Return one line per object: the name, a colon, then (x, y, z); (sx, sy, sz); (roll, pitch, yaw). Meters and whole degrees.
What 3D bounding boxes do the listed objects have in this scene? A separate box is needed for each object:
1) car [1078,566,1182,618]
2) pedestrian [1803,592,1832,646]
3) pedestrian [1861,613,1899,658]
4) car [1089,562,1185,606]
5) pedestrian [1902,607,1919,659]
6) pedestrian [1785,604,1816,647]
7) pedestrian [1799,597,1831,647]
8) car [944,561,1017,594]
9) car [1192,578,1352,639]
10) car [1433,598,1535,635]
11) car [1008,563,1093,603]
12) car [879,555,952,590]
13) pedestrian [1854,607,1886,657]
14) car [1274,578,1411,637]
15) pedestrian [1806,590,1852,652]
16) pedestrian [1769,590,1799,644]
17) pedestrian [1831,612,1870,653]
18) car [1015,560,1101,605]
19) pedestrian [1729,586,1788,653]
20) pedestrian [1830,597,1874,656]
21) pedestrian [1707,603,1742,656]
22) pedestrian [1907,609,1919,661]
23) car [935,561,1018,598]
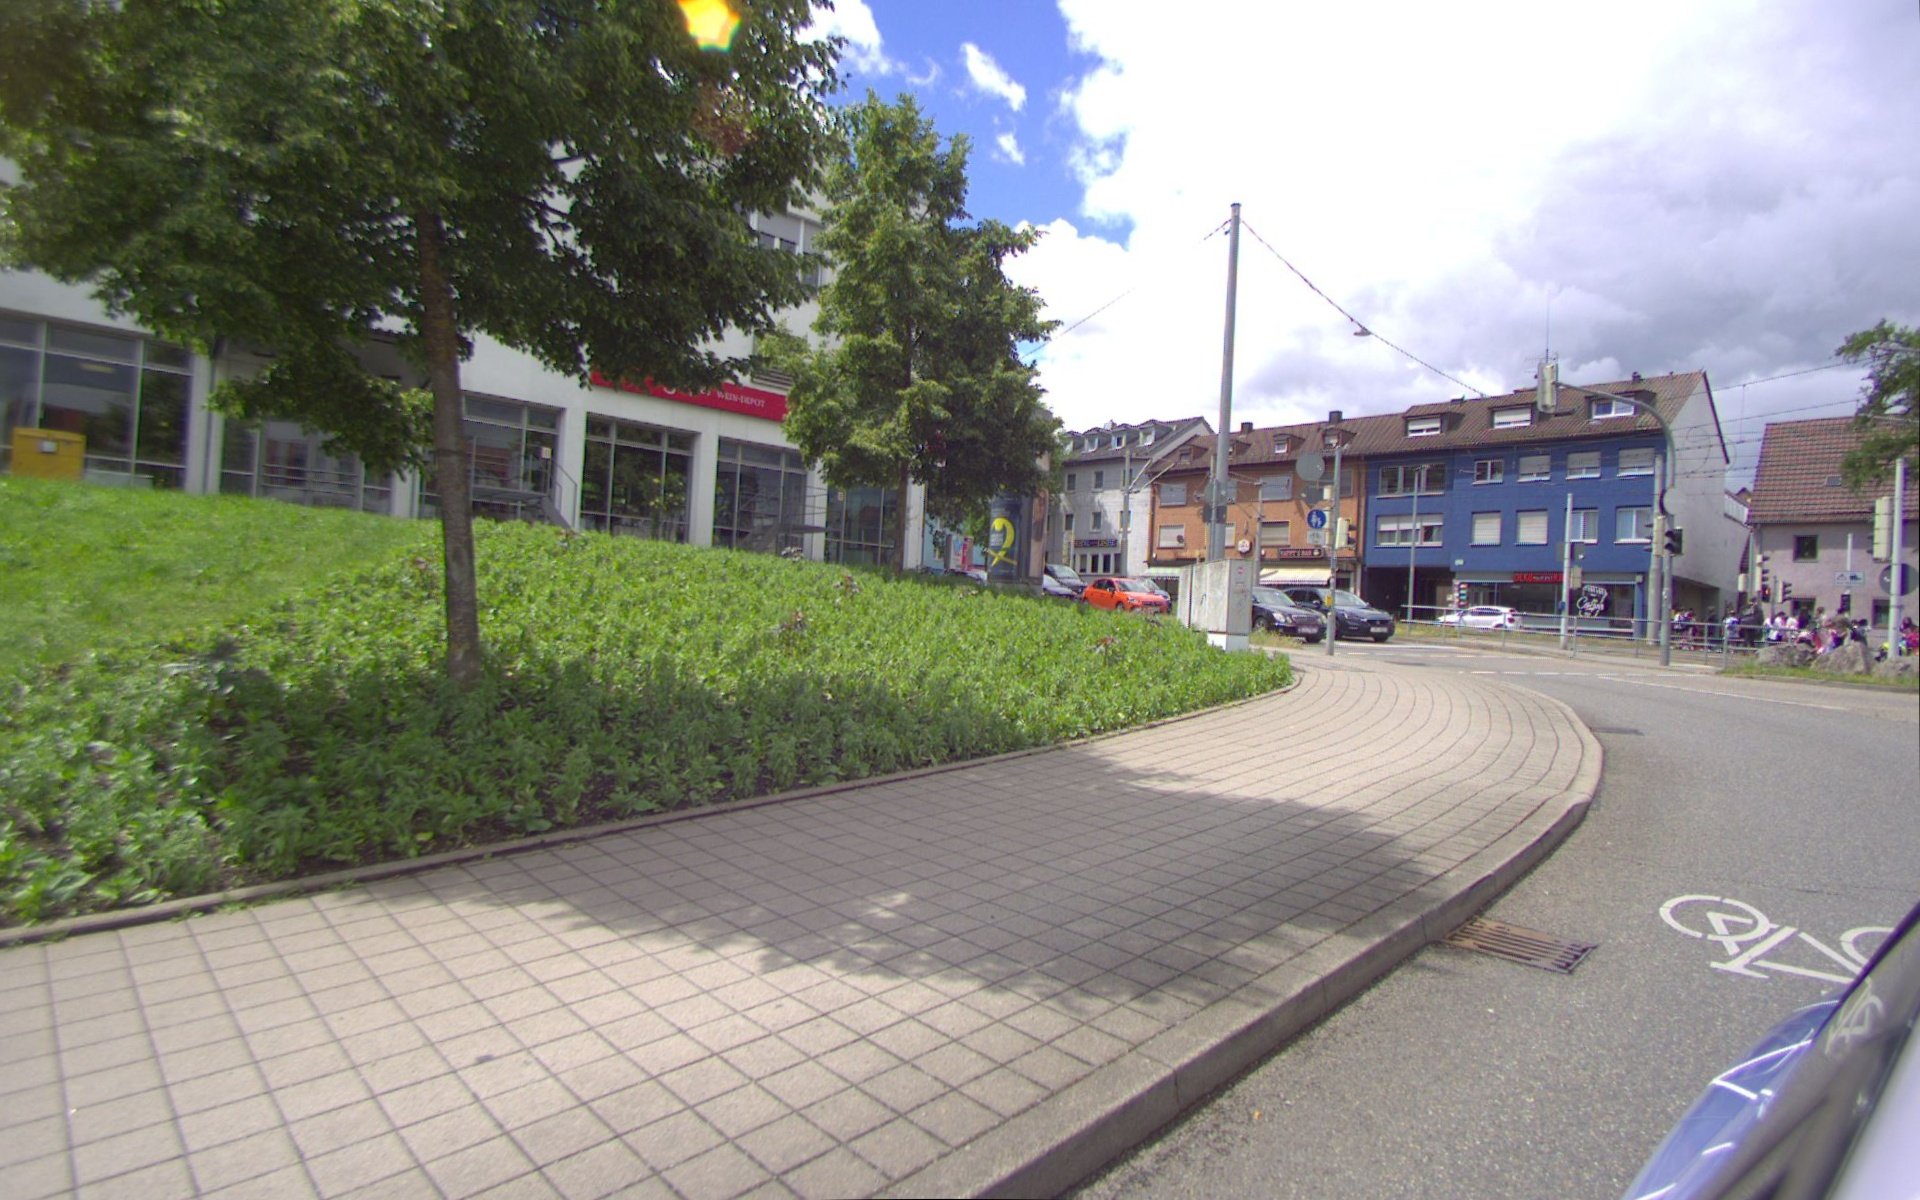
car: (5.970, -0.273, 36.015); (1.958, 1.663, 4.008); (3, 0, -18)
pedestrian: (28.559, 0.622, 33.703); (0.673, 1.772, 0.578); (2, 0, 44)
pedestrian: (30.216, 1.164, 33.243); (0.663, 1.417, 0.587); (3, 0, 4)
car: (7.249, -0.684, 41.906); (1.887, 1.659, 4.008); (2, 1, -25)
pedestrian: (27.960, 0.963, 29.204); (0.843, 1.500, 0.737); (3, 0, 19)
pedestrian: (28.688, 0.868, 34.546); (0.623, 1.392, 0.675); (2, 0, -39)
pedestrian: (27.503, 0.695, 32.563); (0.670, 1.585, 0.580); (2, 0, 32)
car: (1.044, -1.198, 52.726); (1.975, 1.574, 4.005); (2, 1, -30)
car: (8.403, 0.183, 27.738); (2.009, 1.483, 4.334); (2, 1, -18)
car: (25.236, 0.778, 48.812); (1.682, 1.551, 3.995); (4, -1, -41)
car: (3.667, -0.718, 41.687); (1.863, 1.482, 4.009); (2, 1, -20)
car: (-2.342, -1.422, 52.127); (1.961, 1.639, 4.003); (2, 1, -33)
pedestrian: (28.383, 0.982, 31.564); (0.662, 1.511, 0.587); (2, 0, -36)
car: (11.068, 0.164, 29.626); (1.703, 1.455, 4.104); (1, 3, -13)
pedestrian: (25.290, 0.600, 29.464); (0.682, 1.772, 0.749); (3, 0, 11)
pedestrian: (27.576, 0.566, 33.869); (0.673, 1.772, 0.578); (2, 0, 44)
pedestrian: (26.783, 0.957, 30.459); (0.667, 1.182, 0.584); (3, 0, 19)
car: (4.443, -0.821, 46.548); (1.814, 1.904, 4.154); (2, 1, -30)
pedestrian: (23.648, 0.560, 29.981); (0.948, 1.864, 0.827); (4, 1, -9)
pedestrian: (26.254, 0.772, 29.796); (0.888, 1.672, 0.814); (3, 0, 40)
pedestrian: (26.490, 1.023, 35.078); (0.743, 1.772, 0.584); (3, 0, 19)
pedestrian: (29.399, 1.082, 30.910); (0.585, 1.546, 0.665); (3, 0, 41)
car: (0.716, -1.005, 47.734); (1.961, 1.603, 4.003); (2, 1, -33)
